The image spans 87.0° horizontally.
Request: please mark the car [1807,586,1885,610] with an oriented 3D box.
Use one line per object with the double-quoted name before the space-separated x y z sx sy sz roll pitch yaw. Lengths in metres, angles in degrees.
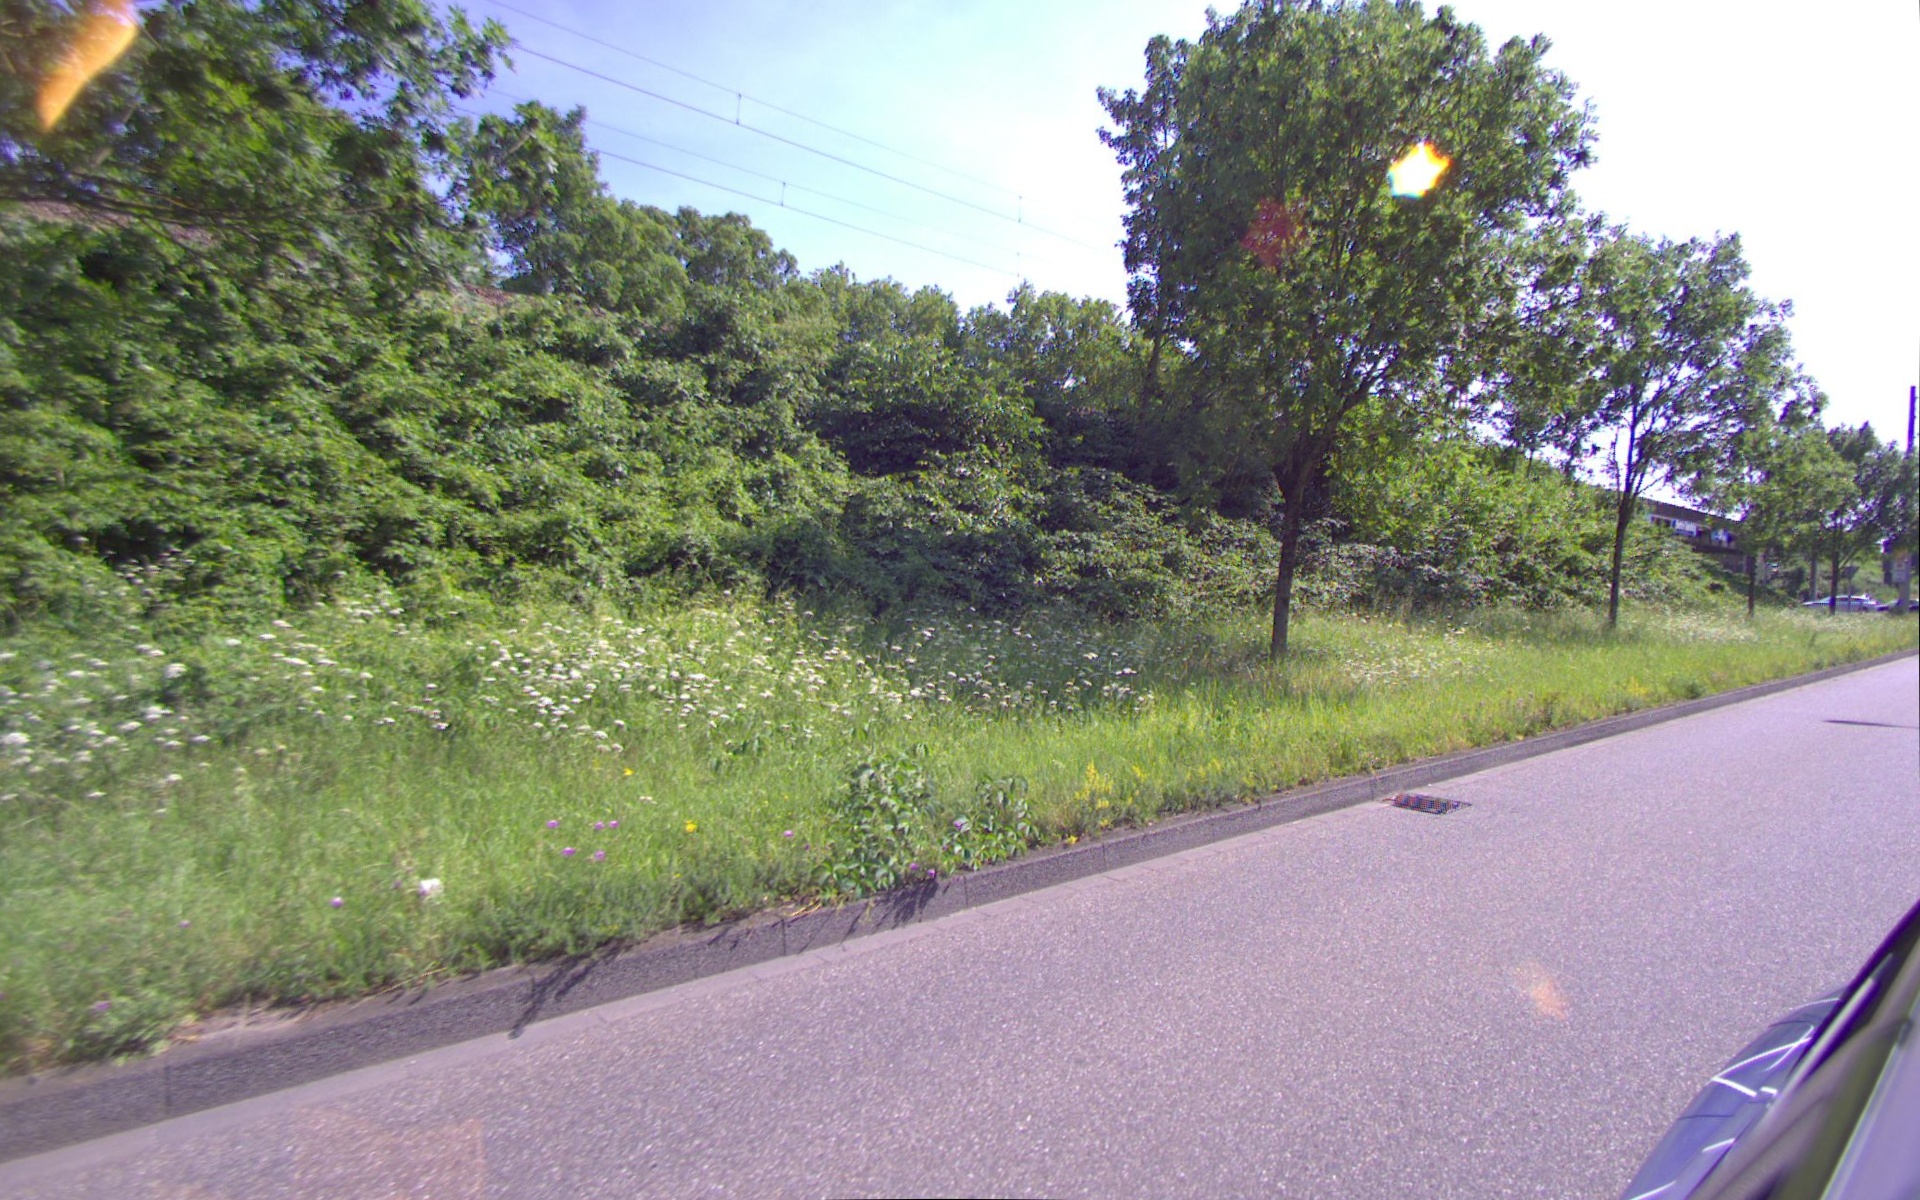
"car" 66.176 -0.176 75.643 3.946 1.649 1.763 2 2 17
